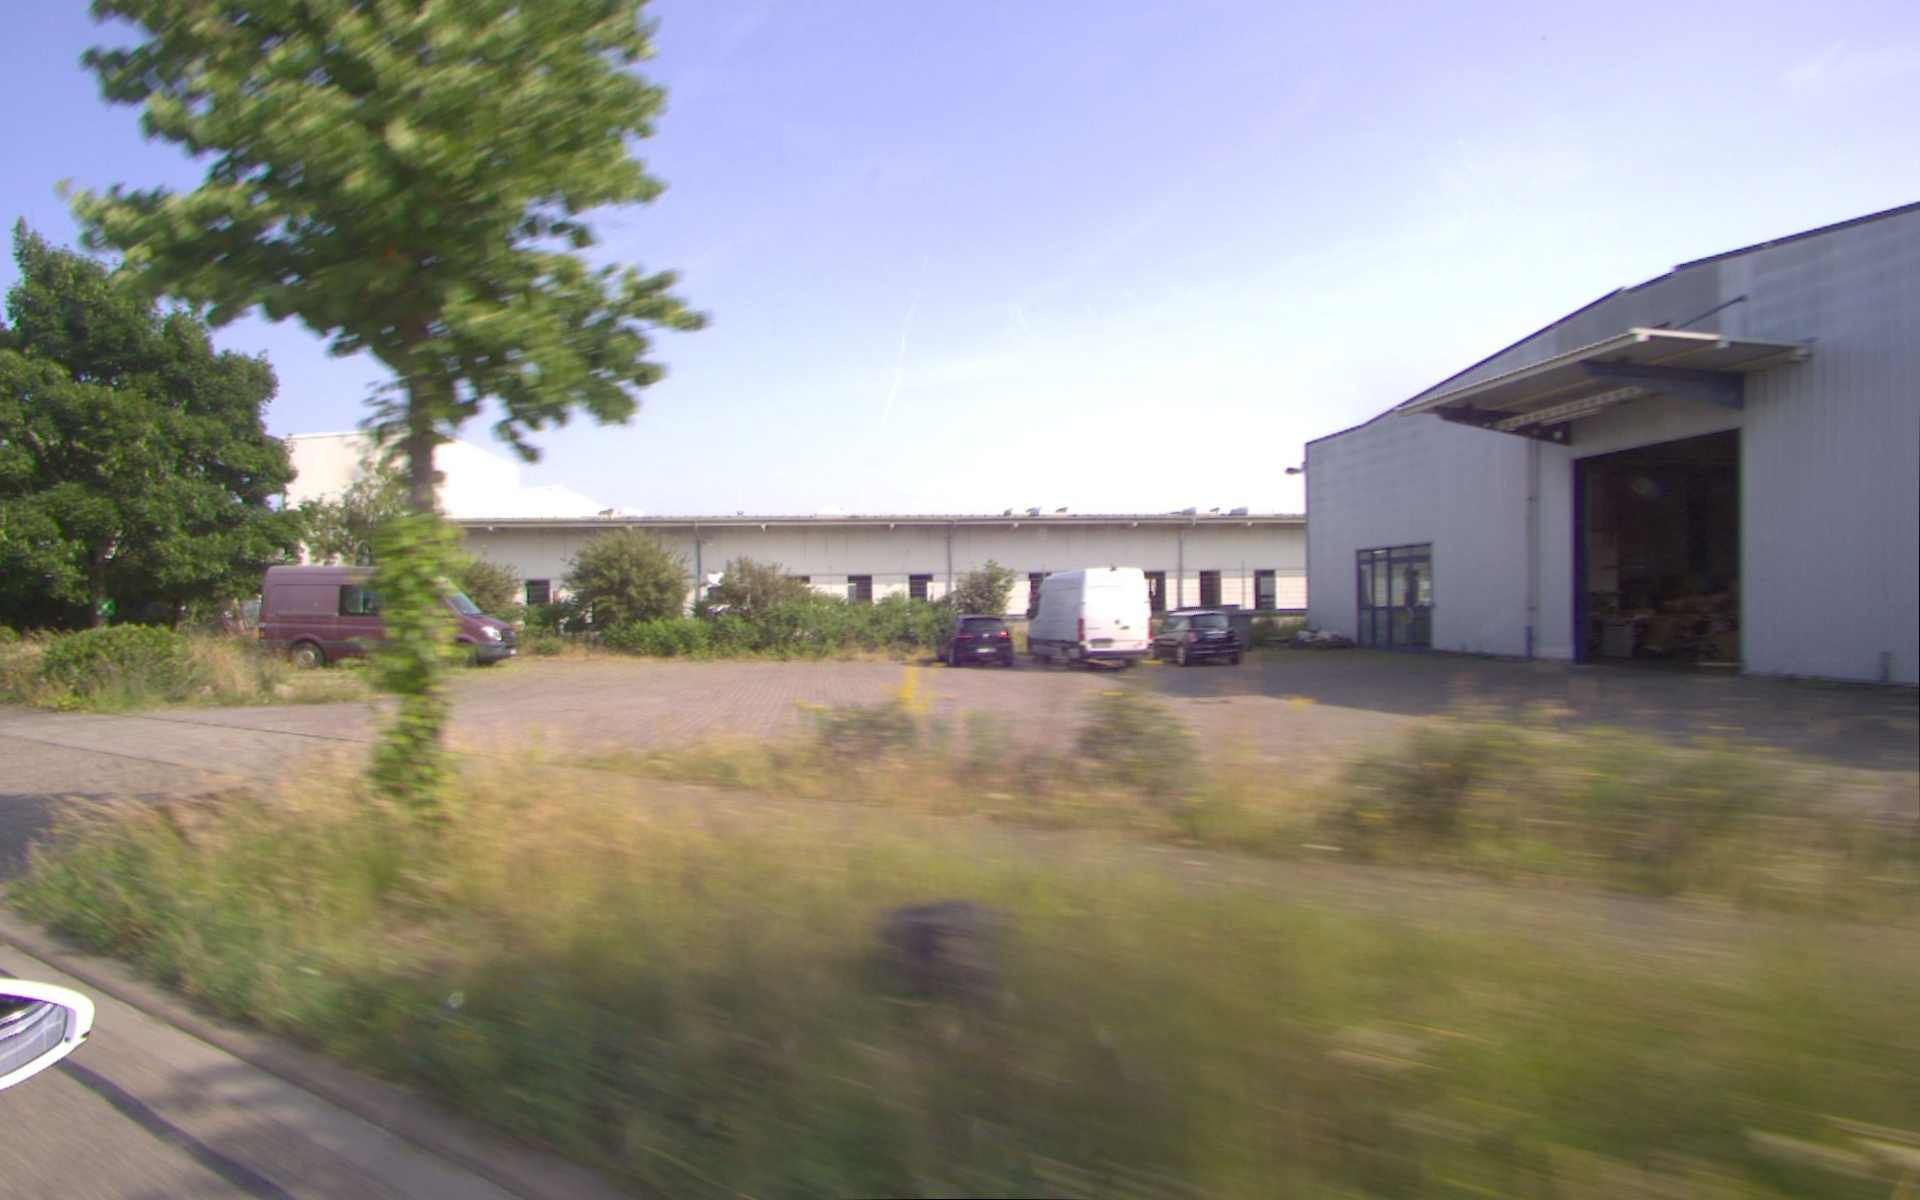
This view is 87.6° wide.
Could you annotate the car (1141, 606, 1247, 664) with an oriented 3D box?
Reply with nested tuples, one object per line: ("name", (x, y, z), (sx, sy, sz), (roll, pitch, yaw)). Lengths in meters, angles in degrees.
("car", (6.337, 0.971, 27.446), (1.671, 1.489, 3.441), (0, -2, -9))

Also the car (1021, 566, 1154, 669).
("car", (3.409, 0.499, 28.377), (1.969, 2.558, 6.558), (-1, -1, -9))

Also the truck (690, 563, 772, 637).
("truck", (-9.861, 0.106, 43.884), (2.737, 2.877, 8.759), (-1, -1, -8))

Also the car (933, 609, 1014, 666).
("car", (0.317, 1.032, 28.741), (1.726, 1.491, 3.728), (0, 0, -9))

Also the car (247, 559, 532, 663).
("car", (-14.734, 0.352, 26.314), (5.933, 2.557, 2.575), (0, -2, -9))
